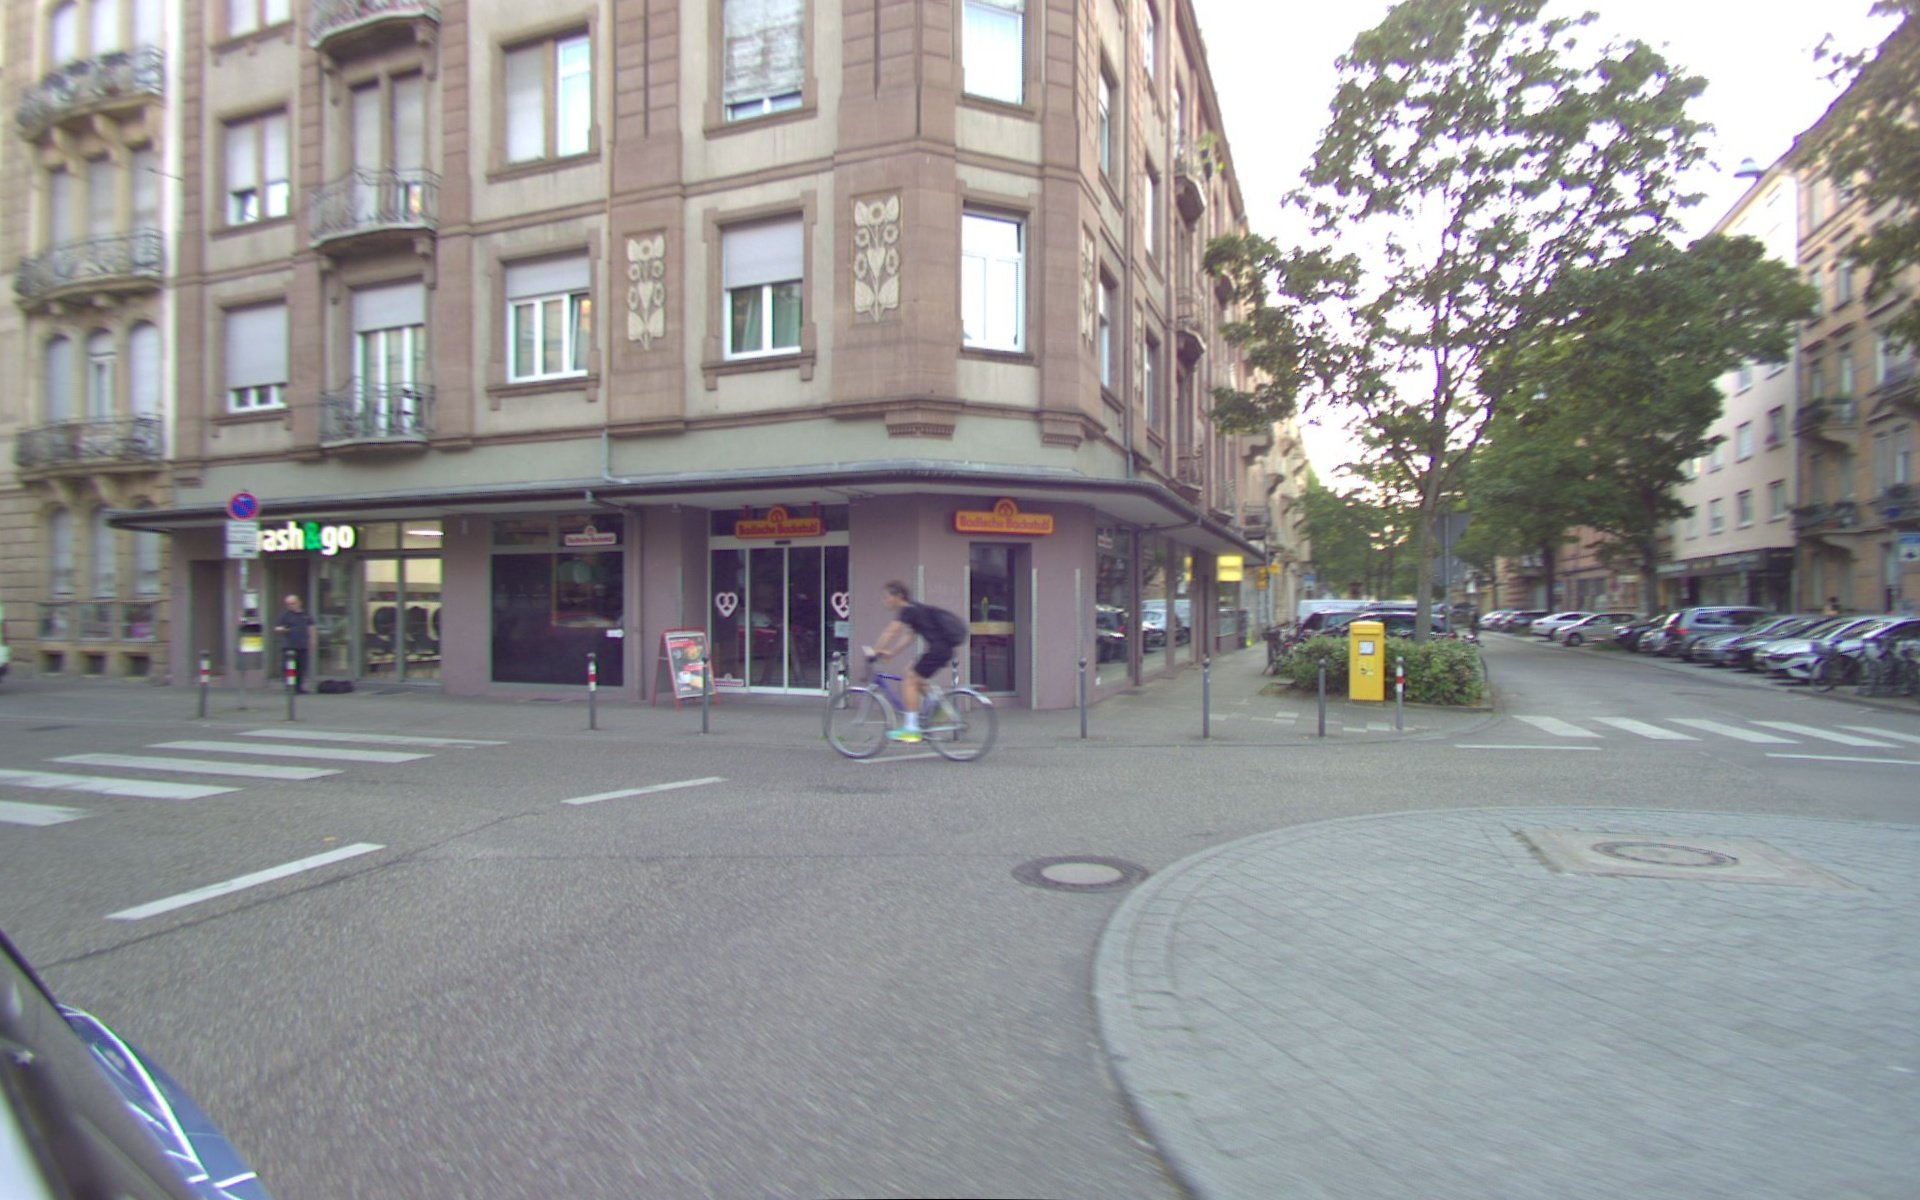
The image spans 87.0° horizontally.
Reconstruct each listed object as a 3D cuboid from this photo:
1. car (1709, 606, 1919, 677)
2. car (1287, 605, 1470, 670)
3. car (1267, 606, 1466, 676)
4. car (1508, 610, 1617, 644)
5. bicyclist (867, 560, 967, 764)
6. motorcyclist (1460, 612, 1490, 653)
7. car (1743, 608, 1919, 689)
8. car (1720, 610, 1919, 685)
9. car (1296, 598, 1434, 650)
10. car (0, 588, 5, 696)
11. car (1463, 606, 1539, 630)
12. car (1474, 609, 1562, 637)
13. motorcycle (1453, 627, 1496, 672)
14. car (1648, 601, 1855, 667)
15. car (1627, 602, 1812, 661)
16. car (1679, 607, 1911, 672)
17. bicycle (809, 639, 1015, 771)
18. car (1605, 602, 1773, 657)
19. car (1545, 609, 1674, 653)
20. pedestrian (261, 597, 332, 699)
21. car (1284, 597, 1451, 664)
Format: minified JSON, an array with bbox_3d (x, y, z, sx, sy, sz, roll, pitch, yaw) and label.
[{"bbox_3d":[21.861,1.002,25.442,4.463,1.632,1.987,0,1,20],"label":"car"},{"bbox_3d":[11.278,0.973,27.585,4.463,1.590,1.987,0,1,20],"label":"car"},{"bbox_3d":[10.067,0.971,25.373,4.463,1.590,1.987,0,1,20],"label":"car"},{"bbox_3d":[30.802,1.358,51.905,4.463,1.627,1.987,0,1,20],"label":"car"},{"bbox_3d":[-0.397,0.571,9.865,0.868,1.890,0.839,0,1,6],"label":"bicyclist"},{"bbox_3d":[26.135,1.635,51.374,1.156,2.029,1.035,0,1,16],"label":"motorcyclist"},{"bbox_3d":[19.708,0.996,21.461,4.463,1.590,1.987,0,1,20],"label":"car"},{"bbox_3d":[20.767,1.056,23.574,4.463,1.590,1.987,0,1,20],"label":"car"},{"bbox_3d":[16.031,0.906,40.309,4.968,1.966,1.987,0,1,20],"label":"car"},{"bbox_3d":[-19.979,0.770,18.186,4.987,1.936,2.102,0,0,20],"label":"car"},{"bbox_3d":[38.142,1.240,71.447,4.463,1.627,1.987,0,1,20],"label":"car"},{"bbox_3d":[34.183,1.397,62.151,4.463,1.627,1.987,0,1,20],"label":"car"},{"bbox_3d":[26.226,2.476,51.665,1.156,2.029,3.981,0,1,15],"label":"motorcycle"},{"bbox_3d":[23.543,0.956,30.337,4.463,1.812,1.987,0,1,20],"label":"car"},{"bbox_3d":[24.936,0.997,33.428,4.463,1.812,1.987,0,1,20],"label":"car"},{"bbox_3d":[22.745,1.028,27.800,4.463,1.590,1.987,0,1,20],"label":"car"},{"bbox_3d":[-0.437,0.991,9.881,1.912,1.180,0.839,0,1,6],"label":"bicycle"},{"bbox_3d":[25.829,1.001,36.061,4.463,1.812,1.987,0,1,20],"label":"car"},{"bbox_3d":[28.668,1.317,44.850,4.463,1.812,1.987,0,1,20],"label":"car"},{"bbox_3d":[-11.308,0.801,17.255,0.731,1.690,0.706,-1,0,22],"label":"pedestrian"},{"bbox_3d":[11.998,0.859,30.061,4.463,1.844,1.987,0,1,20],"label":"car"}]
